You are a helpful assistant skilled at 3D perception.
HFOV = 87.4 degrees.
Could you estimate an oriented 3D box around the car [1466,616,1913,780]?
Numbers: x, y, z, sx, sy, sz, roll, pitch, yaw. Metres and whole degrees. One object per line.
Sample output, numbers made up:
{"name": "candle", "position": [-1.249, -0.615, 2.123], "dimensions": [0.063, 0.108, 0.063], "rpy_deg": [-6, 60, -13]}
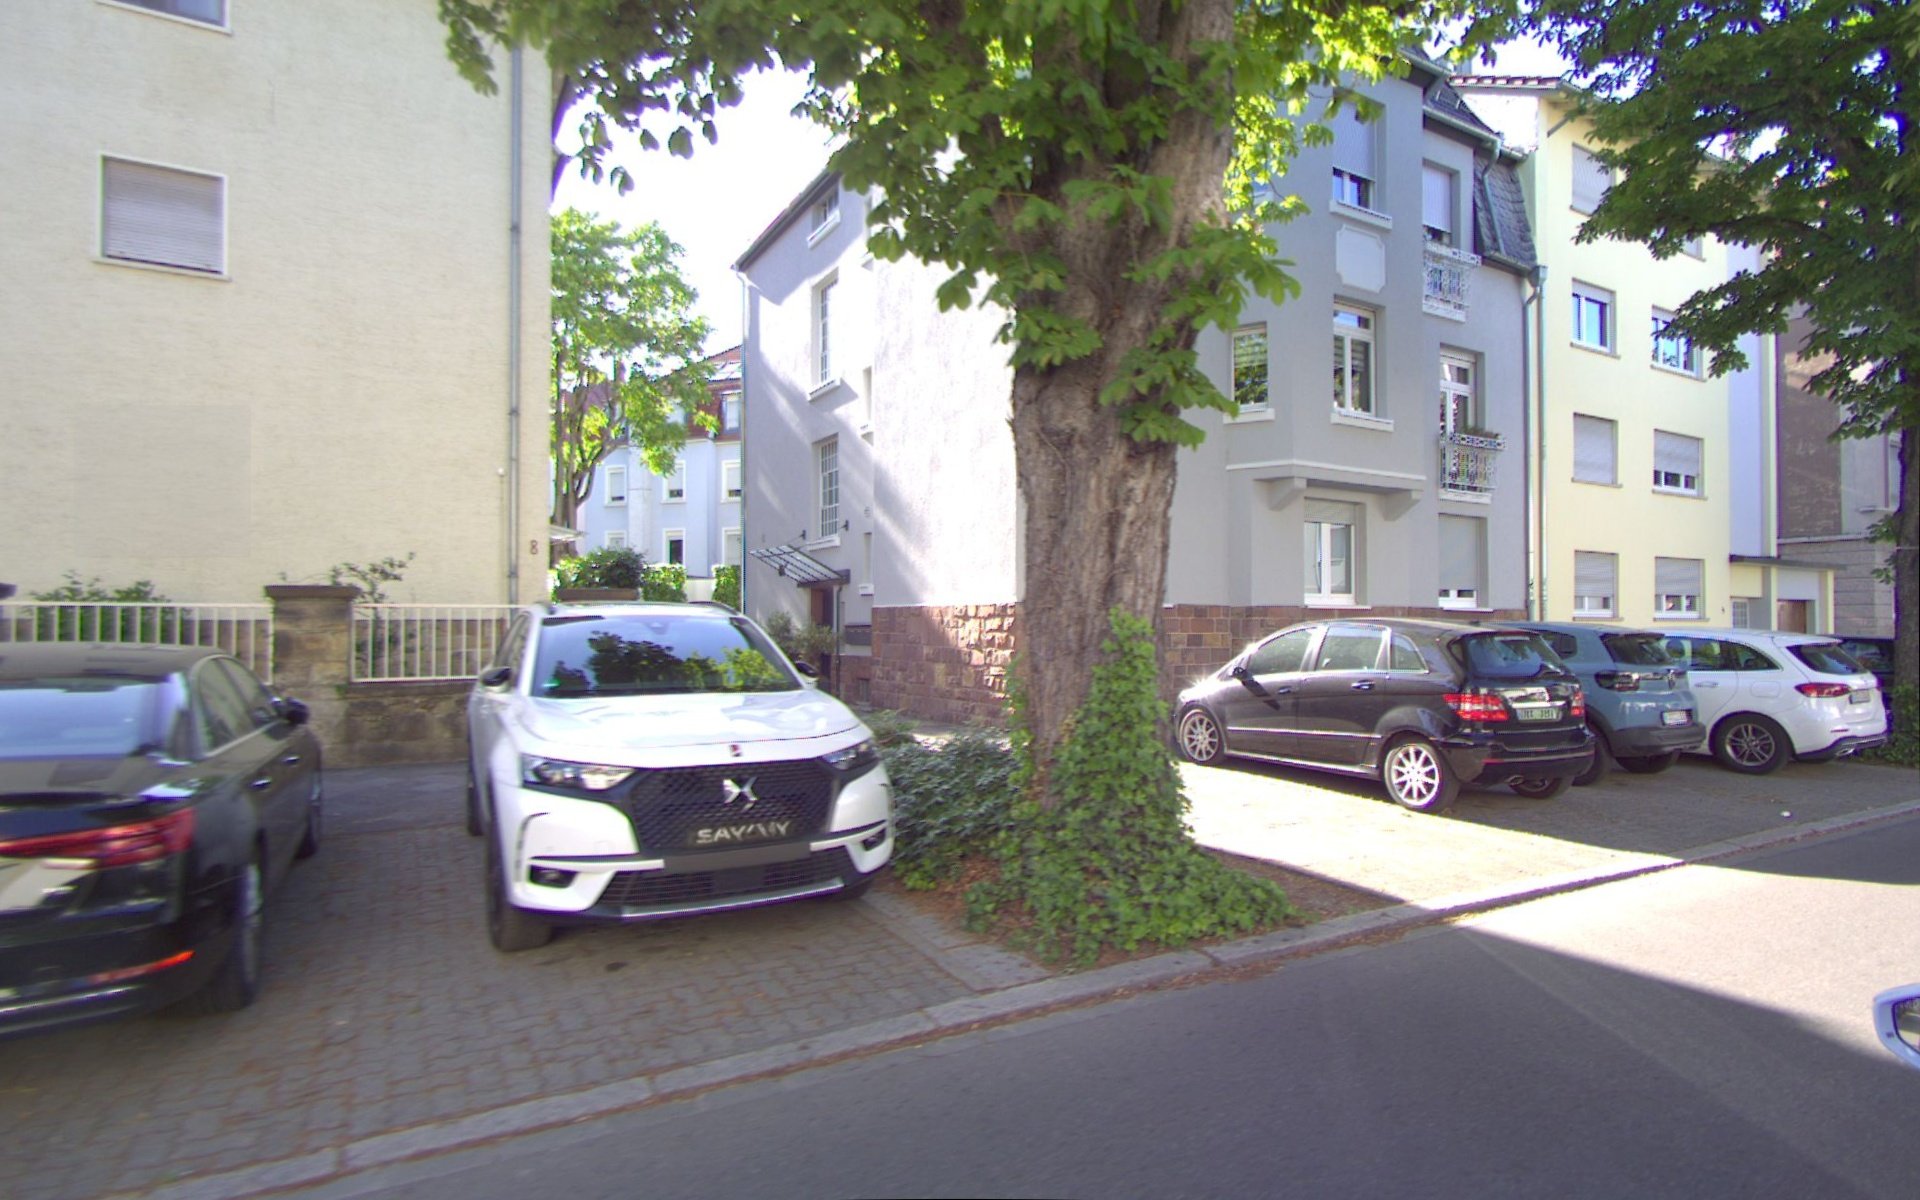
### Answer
{"name": "car", "position": [8.565, 1.020, 12.188], "dimensions": [1.786, 1.504, 4.003], "rpy_deg": [1, 0, -30]}

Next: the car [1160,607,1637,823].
{"name": "car", "position": [4.005, 0.908, 9.889], "dimensions": [1.955, 1.596, 3.972], "rpy_deg": [1, 0, -27]}

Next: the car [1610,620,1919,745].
{"name": "car", "position": [12.042, 1.114, 14.571], "dimensions": [1.782, 1.463, 3.995], "rpy_deg": [2, 0, -35]}

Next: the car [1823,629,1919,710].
{"name": "car", "position": [18.982, 1.339, 18.797], "dimensions": [1.750, 1.441, 3.967], "rpy_deg": [0, 1, -31]}

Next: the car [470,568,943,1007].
{"name": "car", "position": [-1.910, 0.732, 6.198], "dimensions": [1.801, 1.674, 4.368], "rpy_deg": [-1, 0, -29]}

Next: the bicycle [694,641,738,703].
{"name": "bicycle", "position": [-4.428, 1.281, 18.187], "dimensions": [0.300, 0.994, 1.612], "rpy_deg": [2, 0, -30]}

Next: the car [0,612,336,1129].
{"name": "car", "position": [-3.901, 0.822, 4.540], "dimensions": [1.677, 1.488, 3.968], "rpy_deg": [1, -2, -30]}

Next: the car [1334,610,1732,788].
{"name": "car", "position": [6.212, 0.950, 11.293], "dimensions": [1.748, 1.596, 3.502], "rpy_deg": [1, 0, -27]}
